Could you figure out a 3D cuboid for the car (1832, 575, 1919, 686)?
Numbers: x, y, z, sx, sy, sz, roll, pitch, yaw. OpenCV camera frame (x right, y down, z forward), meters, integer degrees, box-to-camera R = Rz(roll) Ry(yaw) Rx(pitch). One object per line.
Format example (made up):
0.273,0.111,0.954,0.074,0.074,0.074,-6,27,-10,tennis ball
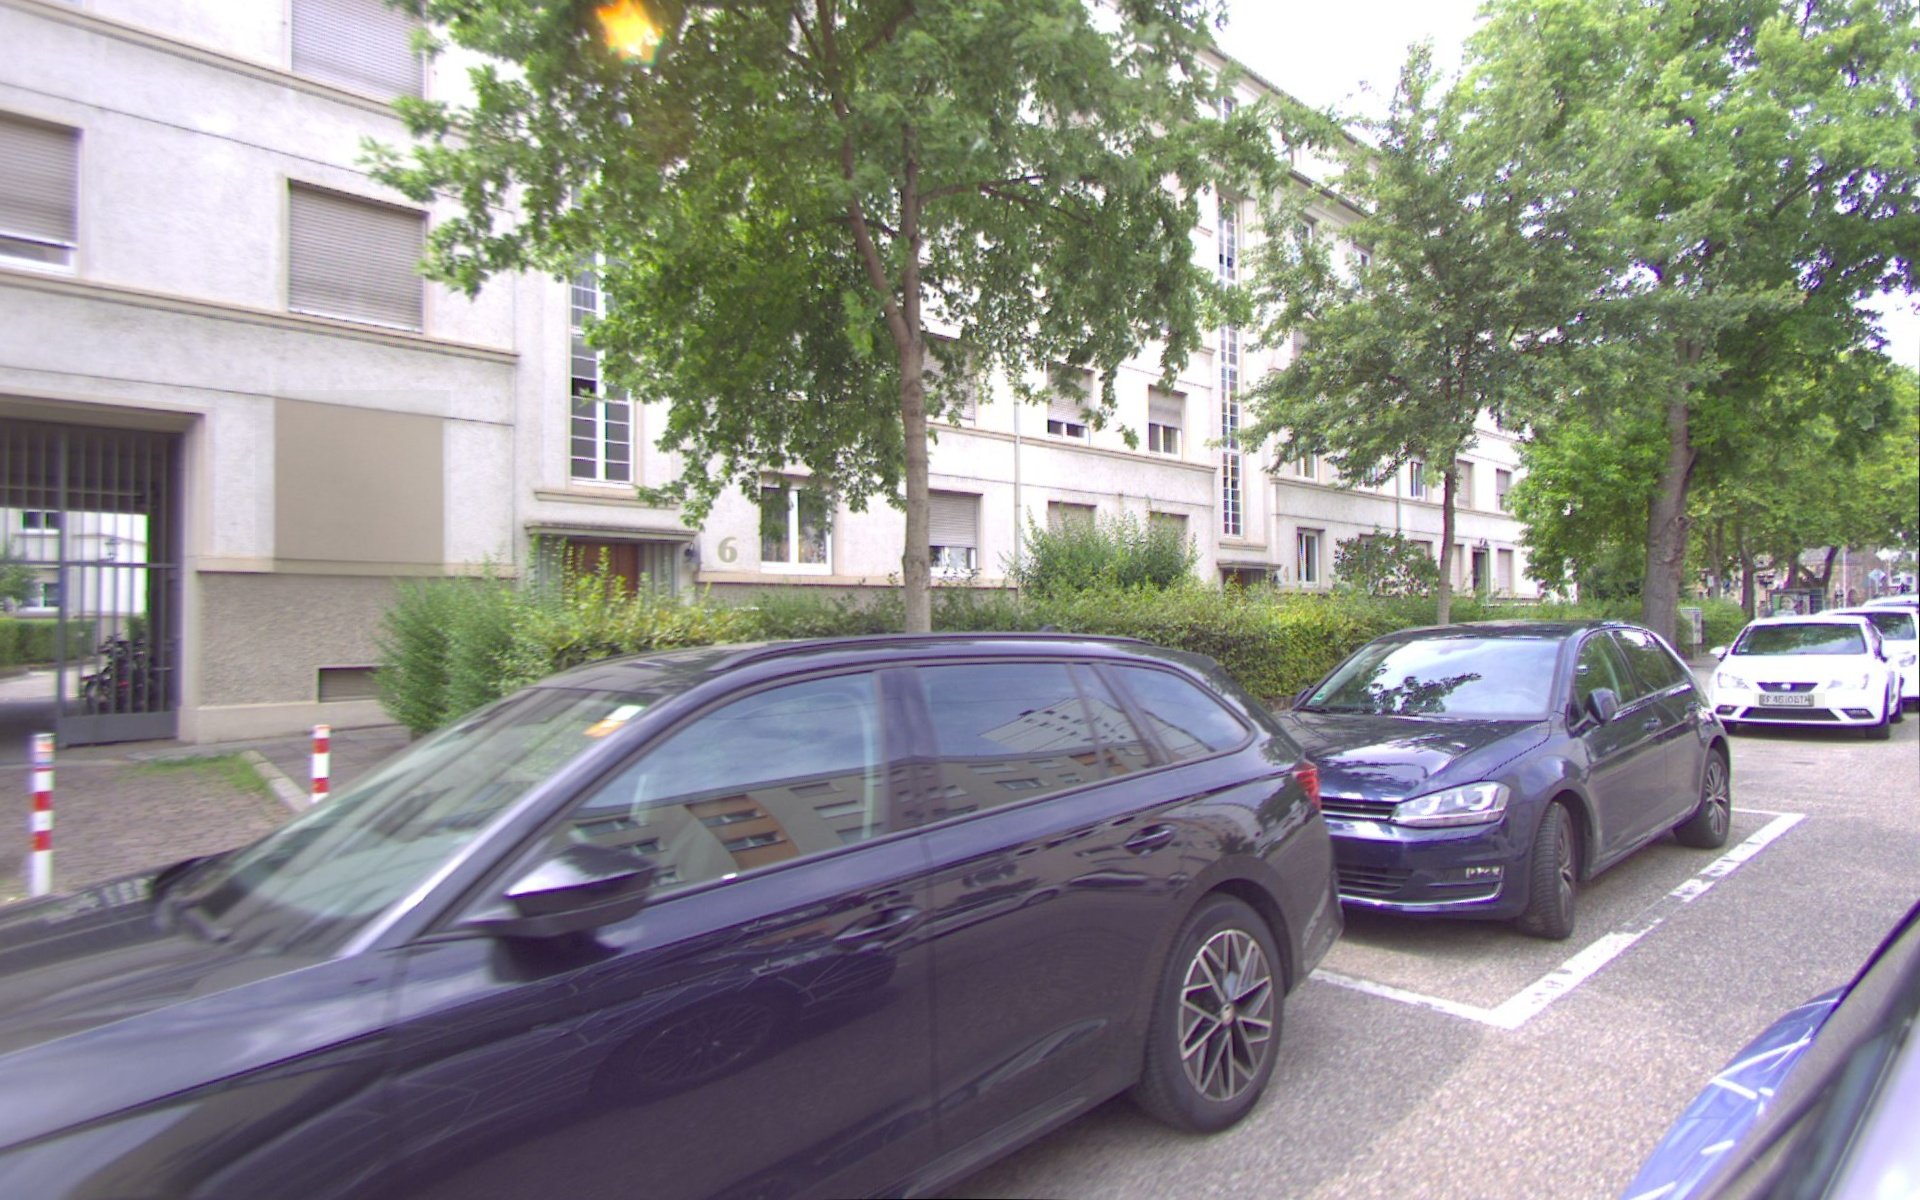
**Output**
17.993,0.508,18.771,4.760,1.890,1.921,0,-2,-40,car

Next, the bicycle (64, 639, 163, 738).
-10.763,1.063,12.868,0.862,1.090,2.655,1,-2,-40,bicycle

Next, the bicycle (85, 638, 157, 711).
-14.126,1.210,17.029,0.862,1.090,2.655,1,-2,-40,bicycle

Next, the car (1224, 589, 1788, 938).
3.573,0.723,6.297,4.029,1.488,1.700,0,-3,-40,car

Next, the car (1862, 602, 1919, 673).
21.301,0.754,21.961,4.163,1.463,1.921,0,-2,-40,car

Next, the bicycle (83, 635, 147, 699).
-15.939,1.223,19.084,0.862,1.090,2.655,1,-2,-40,bicycle

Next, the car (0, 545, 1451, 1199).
-0.492,0.707,2.880,4.479,1.488,1.700,0,-2,-40,car

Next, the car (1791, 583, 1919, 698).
14.607,0.589,15.933,3.737,1.629,1.607,0,-3,-40,car

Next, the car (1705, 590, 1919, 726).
11.107,0.648,13.004,4.031,1.468,1.699,0,-2,-43,car
